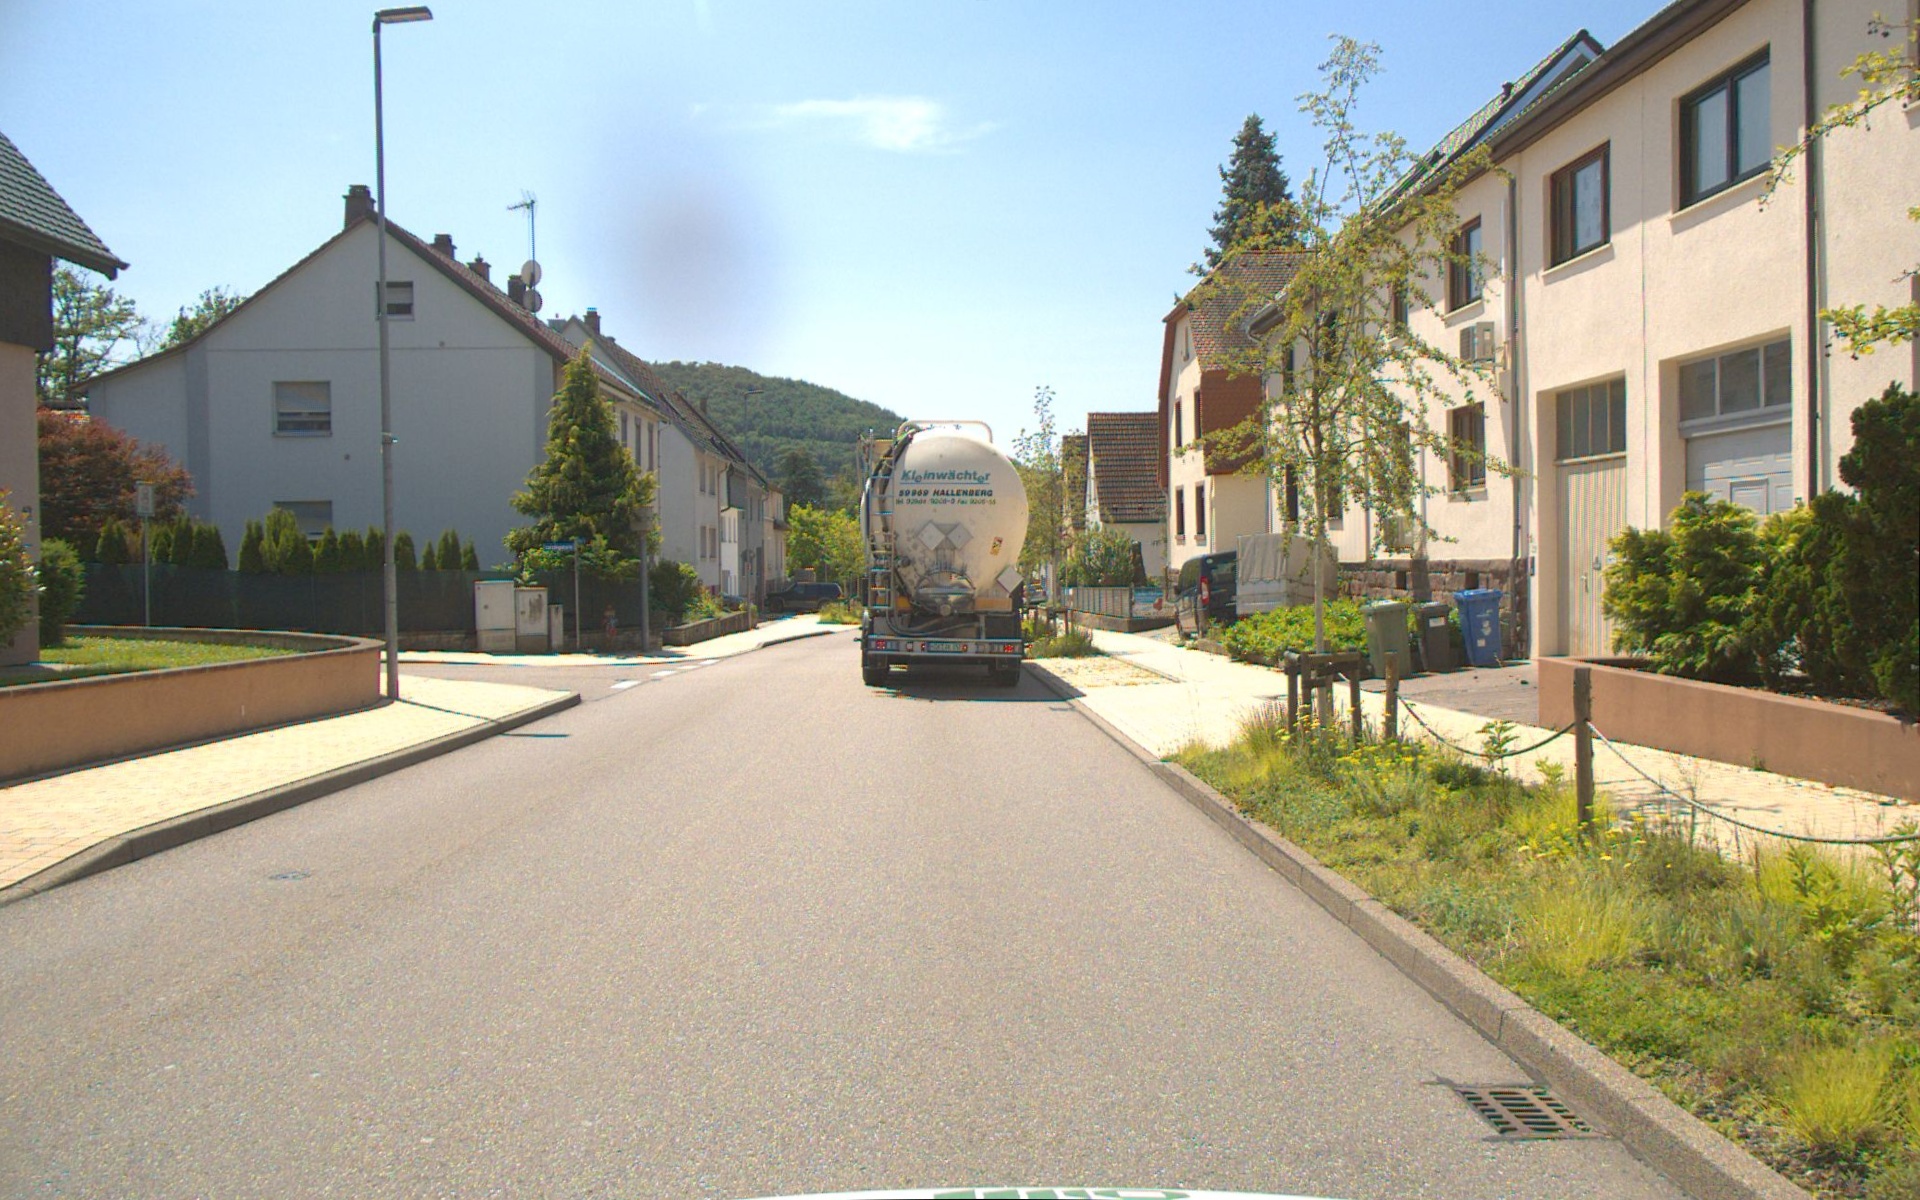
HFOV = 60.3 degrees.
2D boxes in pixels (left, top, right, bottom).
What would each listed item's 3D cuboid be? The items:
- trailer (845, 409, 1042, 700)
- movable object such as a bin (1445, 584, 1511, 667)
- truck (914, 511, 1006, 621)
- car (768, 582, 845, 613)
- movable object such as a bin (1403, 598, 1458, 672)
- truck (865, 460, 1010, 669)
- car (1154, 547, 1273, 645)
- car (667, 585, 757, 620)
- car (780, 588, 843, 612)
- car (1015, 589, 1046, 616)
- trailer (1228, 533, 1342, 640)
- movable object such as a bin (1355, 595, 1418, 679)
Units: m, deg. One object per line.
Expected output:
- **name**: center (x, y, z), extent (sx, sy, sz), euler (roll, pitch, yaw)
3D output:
- **trailer**: center (-0.360, -0.695, 28.340), extent (2.739, 4.070, 10.321), euler (0, 1, -2)
- **movable object such as a bin**: center (7.448, 0.363, 23.825), extent (0.670, 1.125, 0.863), euler (-4, 0, 5)
- **truck**: center (-0.137, -1.613, 81.508), extent (3.833, 4.981, 9.789), euler (-2, 0, -3)
- **car**: center (-8.838, -0.140, 95.601), extent (4.306, 1.781, 1.877), euler (0, 0, -2)
- **movable object such as a bin**: center (6.783, 0.492, 23.854), extent (0.546, 1.003, 0.803), euler (-5, 0, 5)
- **truck**: center (-0.462, -0.711, 34.960), extent (2.751, 4.005, 6.098), euler (1, 0, -1)
- **car**: center (5.700, -0.089, 37.773), extent (1.815, 2.005, 4.772), euler (-3, 0, -1)
- **car**: center (-11.500, 0.091, 76.801), extent (3.906, 1.572, 1.832), euler (0, 0, -1)
- **car**: center (-8.950, 0.002, 99.720), extent (3.477, 1.464, 1.694), euler (0, 0, 33)
- **car**: center (4.539, 0.160, 106.349), extent (1.754, 1.568, 4.519), euler (-3, 0, 0)
- **trailer**: center (6.511, -0.270, 33.020), extent (1.300, 2.049, 2.261), euler (0, 0, 41)
- **movable object such as a bin**: center (6.109, 0.525, 23.710), extent (0.670, 1.134, 0.813), euler (-4, -1, 4)
